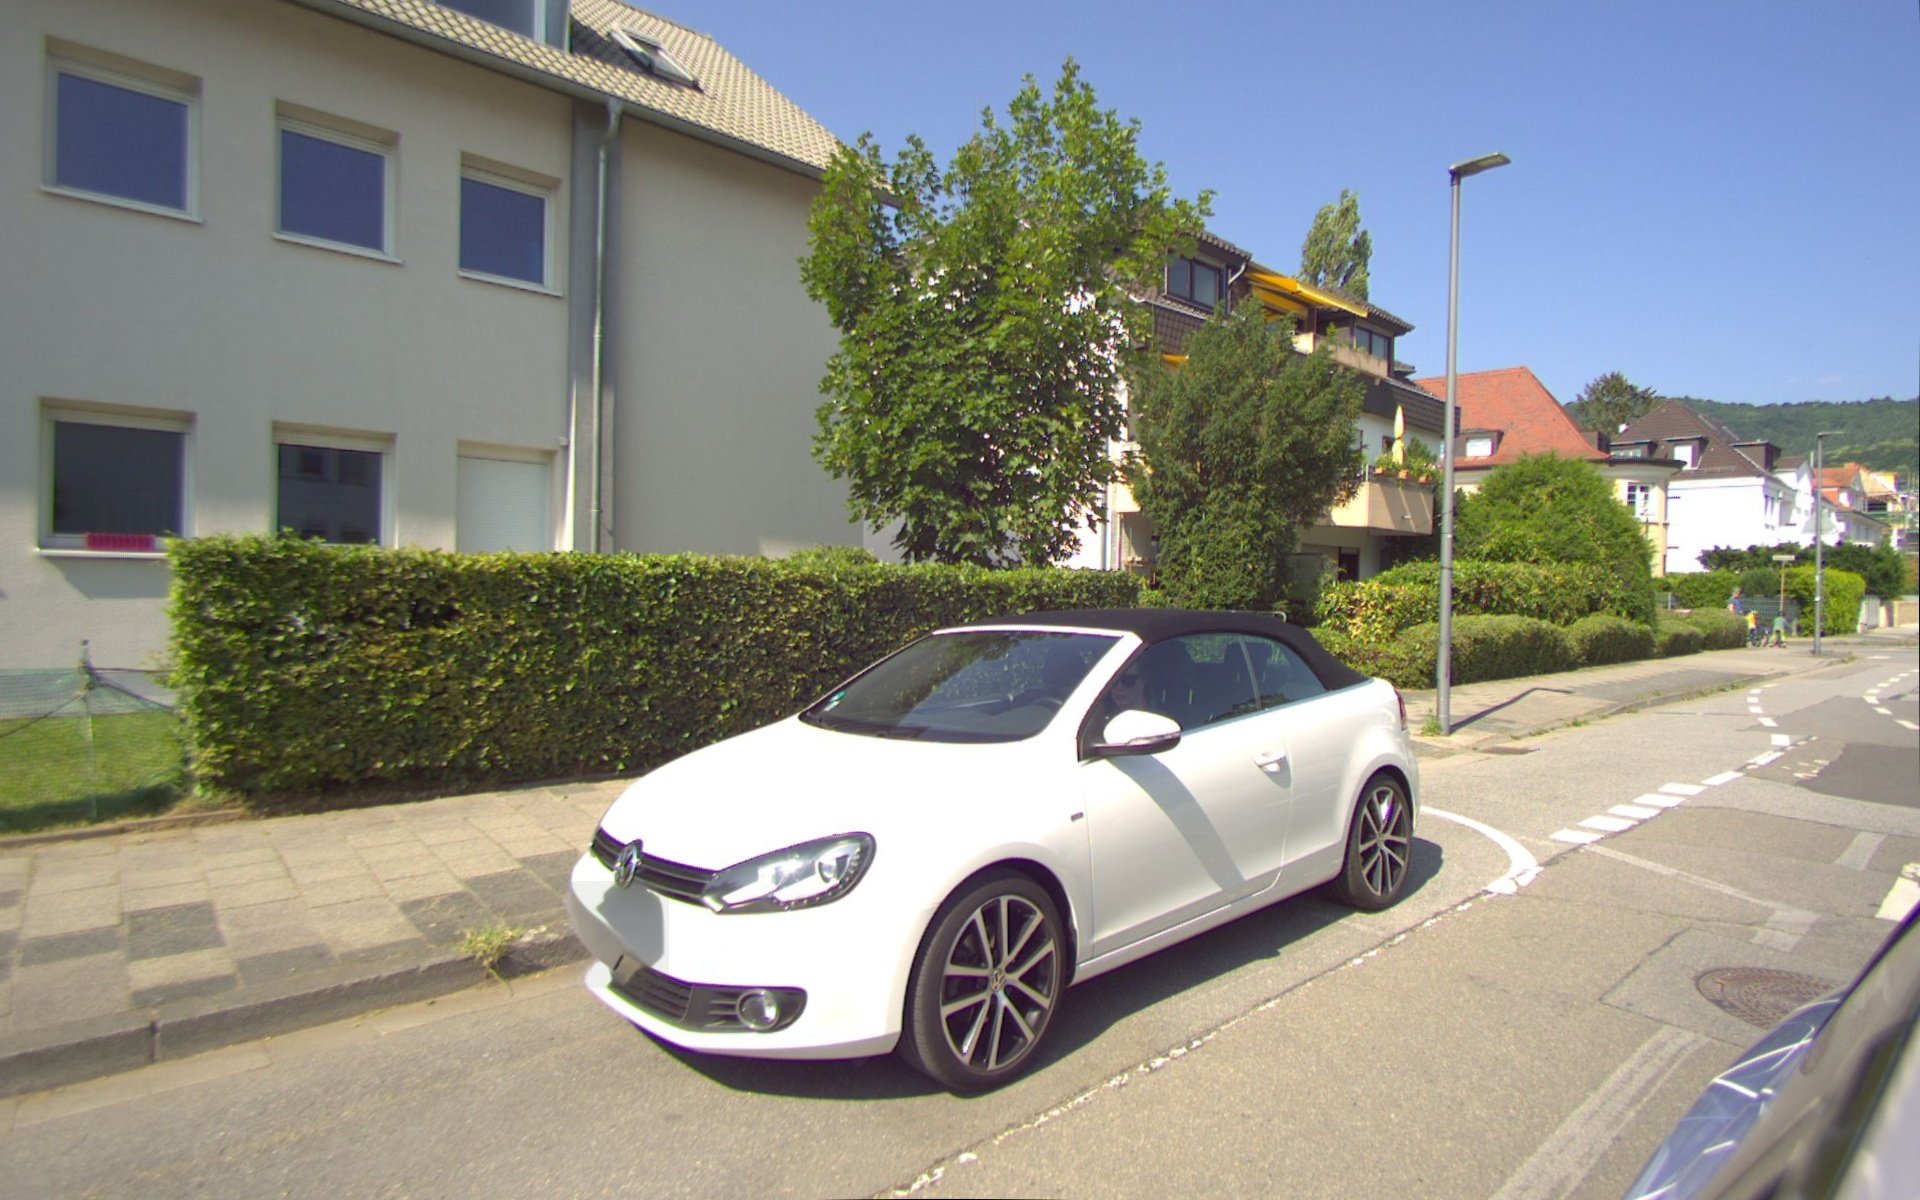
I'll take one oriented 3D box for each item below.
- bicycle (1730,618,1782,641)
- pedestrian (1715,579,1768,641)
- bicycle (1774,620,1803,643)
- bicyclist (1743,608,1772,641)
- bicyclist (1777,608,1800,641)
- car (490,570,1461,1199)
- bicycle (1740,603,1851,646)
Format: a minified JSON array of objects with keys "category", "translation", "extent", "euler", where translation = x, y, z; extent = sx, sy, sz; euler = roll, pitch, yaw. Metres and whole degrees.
[{"category":"bicycle","translation":[23.489,0.869,29.872],"extent":[0.396,0.607,1.149],"euler":[1,2,-43]},{"category":"pedestrian","translation":[24.720,0.301,32.029],"extent":[0.889,1.896,1.183],"euler":[1,1,16]},{"category":"bicycle","translation":[24.762,0.943,30.266],"extent":[0.398,0.607,1.162],"euler":[2,2,27]},{"category":"bicyclist","translation":[23.519,0.719,29.858],"extent":[0.393,0.945,0.607],"euler":[0,2,-43]},{"category":"bicyclist","translation":[24.737,0.723,30.219],"extent":[0.399,0.941,0.651],"euler":[2,1,30]},{"category":"car","translation":[0.387,0.664,4.288],"extent":[4.003,1.420,1.742],"euler":[0,-1,-42]},{"category":"bicycle","translation":[25.545,0.725,31.014],"extent":[0.846,1.172,2.716],"euler":[1,1,-9]}]
